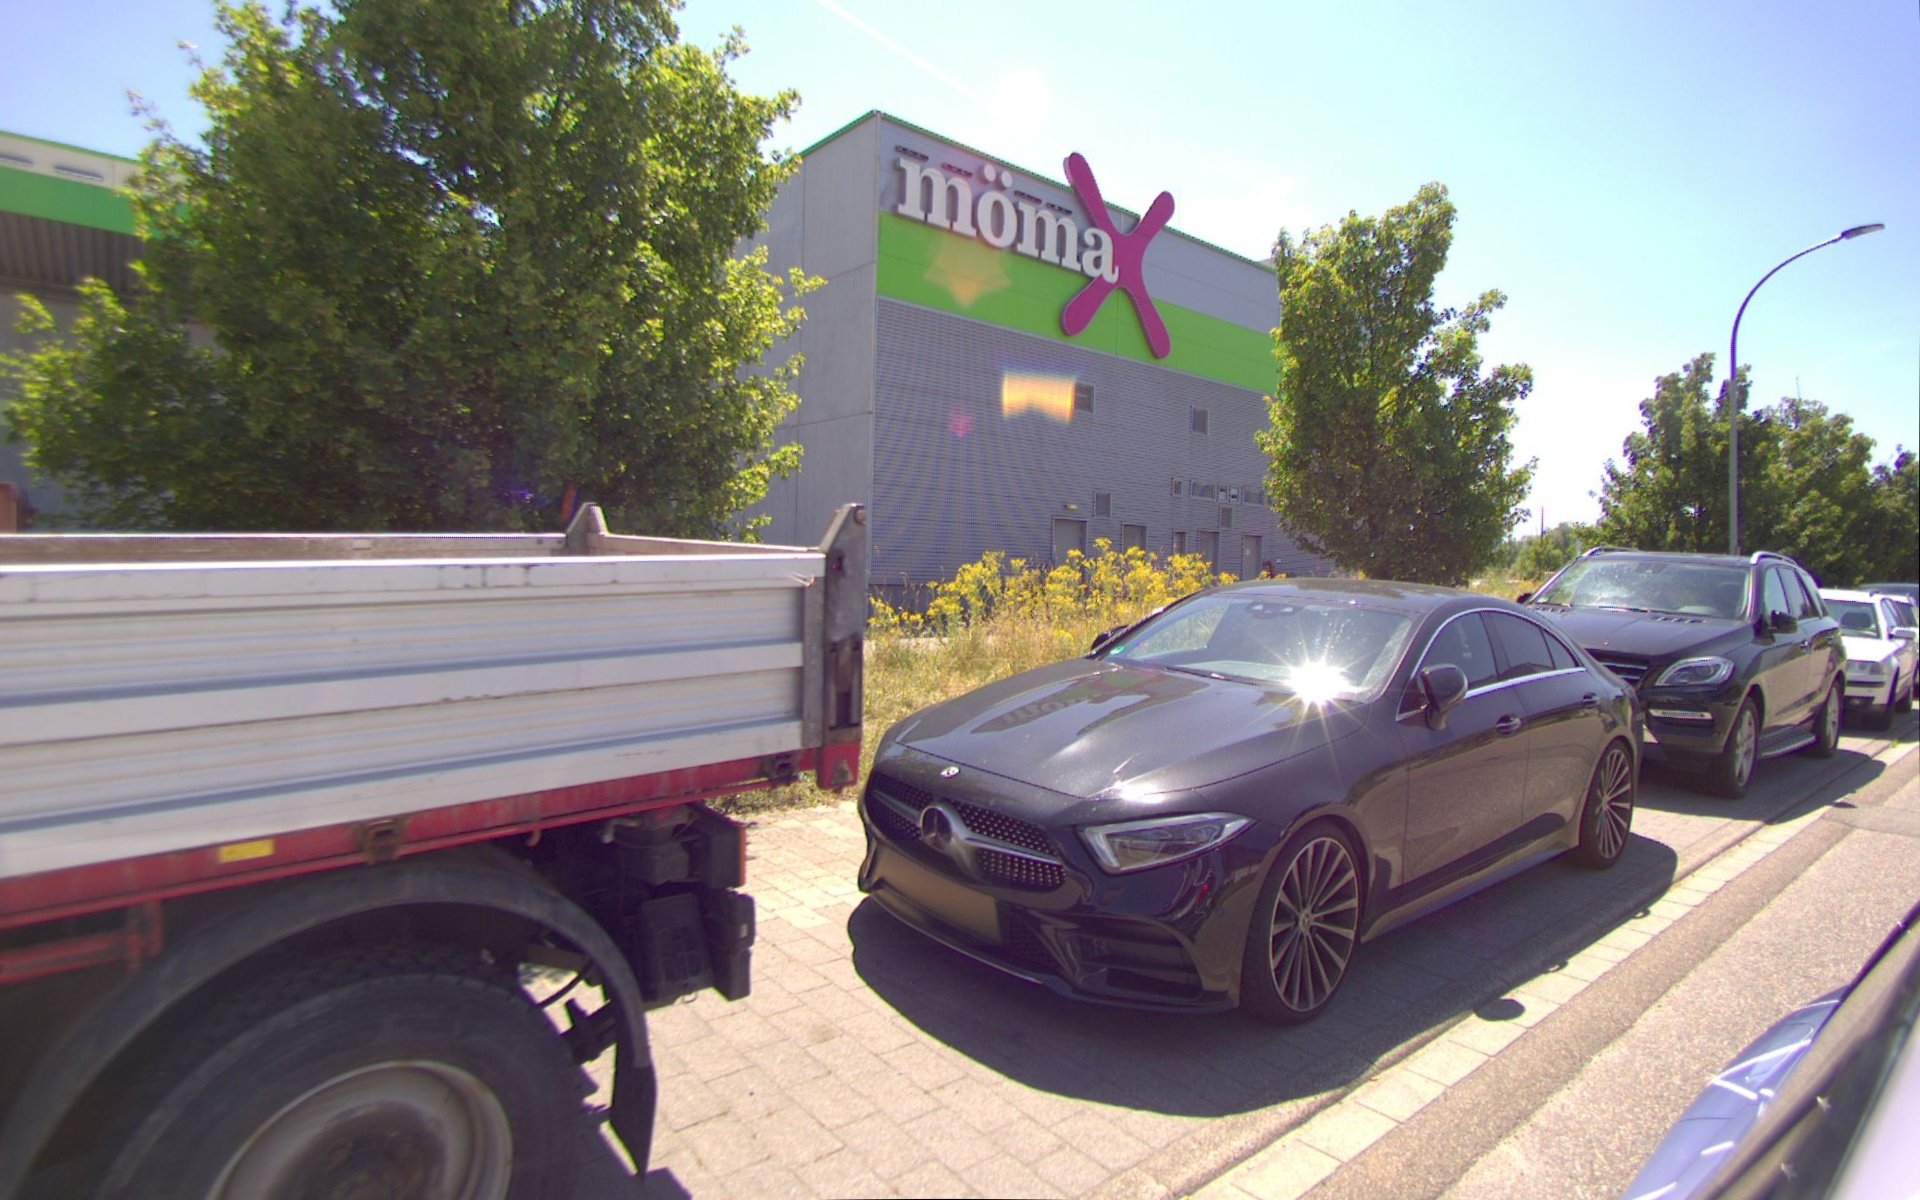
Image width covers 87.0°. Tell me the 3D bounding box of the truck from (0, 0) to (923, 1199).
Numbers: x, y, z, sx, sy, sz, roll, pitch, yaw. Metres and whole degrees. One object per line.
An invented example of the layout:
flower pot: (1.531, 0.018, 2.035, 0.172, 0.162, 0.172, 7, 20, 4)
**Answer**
truck: (-2.288, 0.172, 1.402, 4.313, 2.207, 1.683, 0, 4, -41)

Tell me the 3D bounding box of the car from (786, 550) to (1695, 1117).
car: (1.705, 0.554, 4.768, 4.752, 1.400, 1.702, 0, 4, -40)

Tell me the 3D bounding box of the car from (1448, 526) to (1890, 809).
car: (6.130, 0.383, 8.511, 4.688, 1.746, 1.816, 0, 3, -40)

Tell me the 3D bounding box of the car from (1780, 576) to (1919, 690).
car: (14.680, 0.454, 16.157, 4.694, 1.501, 1.807, 0, 4, -44)

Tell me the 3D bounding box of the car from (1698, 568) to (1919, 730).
car: (10.418, 0.458, 12.078, 4.694, 1.501, 1.716, 0, 4, -44)

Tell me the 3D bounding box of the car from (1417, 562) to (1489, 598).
car: (27.675, -1.113, 56.742, 4.323, 1.808, 1.998, 2, 1, -41)

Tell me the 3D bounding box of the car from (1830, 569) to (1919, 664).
car: (19.588, 0.324, 20.685, 4.464, 1.721, 1.954, 0, 3, -40)

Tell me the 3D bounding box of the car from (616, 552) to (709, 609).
car: (-8.912, -0.619, 30.174, 1.521, 1.552, 3.397, 0, 3, -38)
